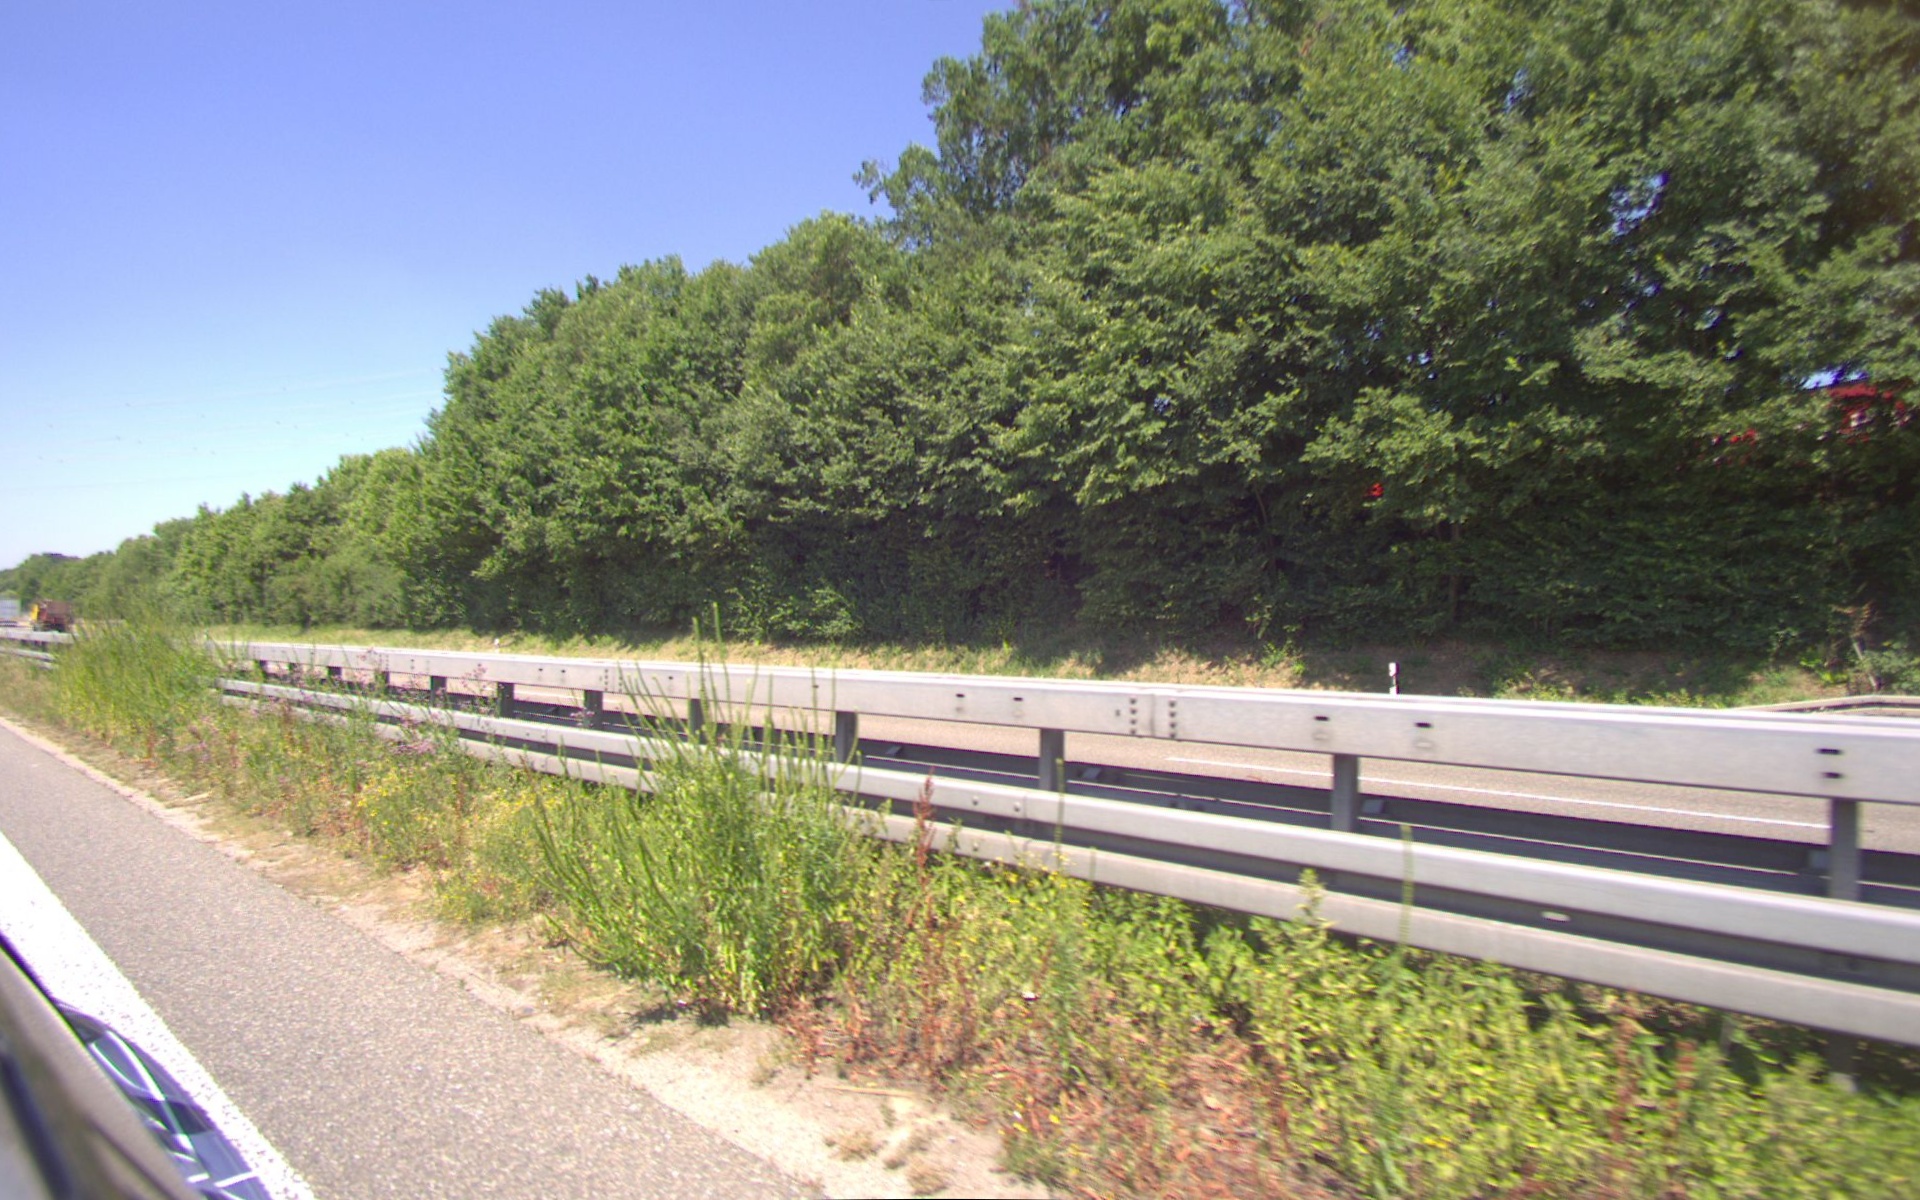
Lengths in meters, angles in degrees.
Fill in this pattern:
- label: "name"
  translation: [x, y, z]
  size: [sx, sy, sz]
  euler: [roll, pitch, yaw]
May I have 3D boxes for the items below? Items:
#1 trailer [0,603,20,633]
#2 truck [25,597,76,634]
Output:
- label: "trailer"
  translation: [-141.313, 2.692, 149.009]
  size: [7.965, 4.312, 3.418]
  euler: [-1, 0, 40]
- label: "truck"
  translation: [-98.729, 1.656, 109.739]
  size: [11.152, 3.766, 2.754]
  euler: [-1, 0, 41]
